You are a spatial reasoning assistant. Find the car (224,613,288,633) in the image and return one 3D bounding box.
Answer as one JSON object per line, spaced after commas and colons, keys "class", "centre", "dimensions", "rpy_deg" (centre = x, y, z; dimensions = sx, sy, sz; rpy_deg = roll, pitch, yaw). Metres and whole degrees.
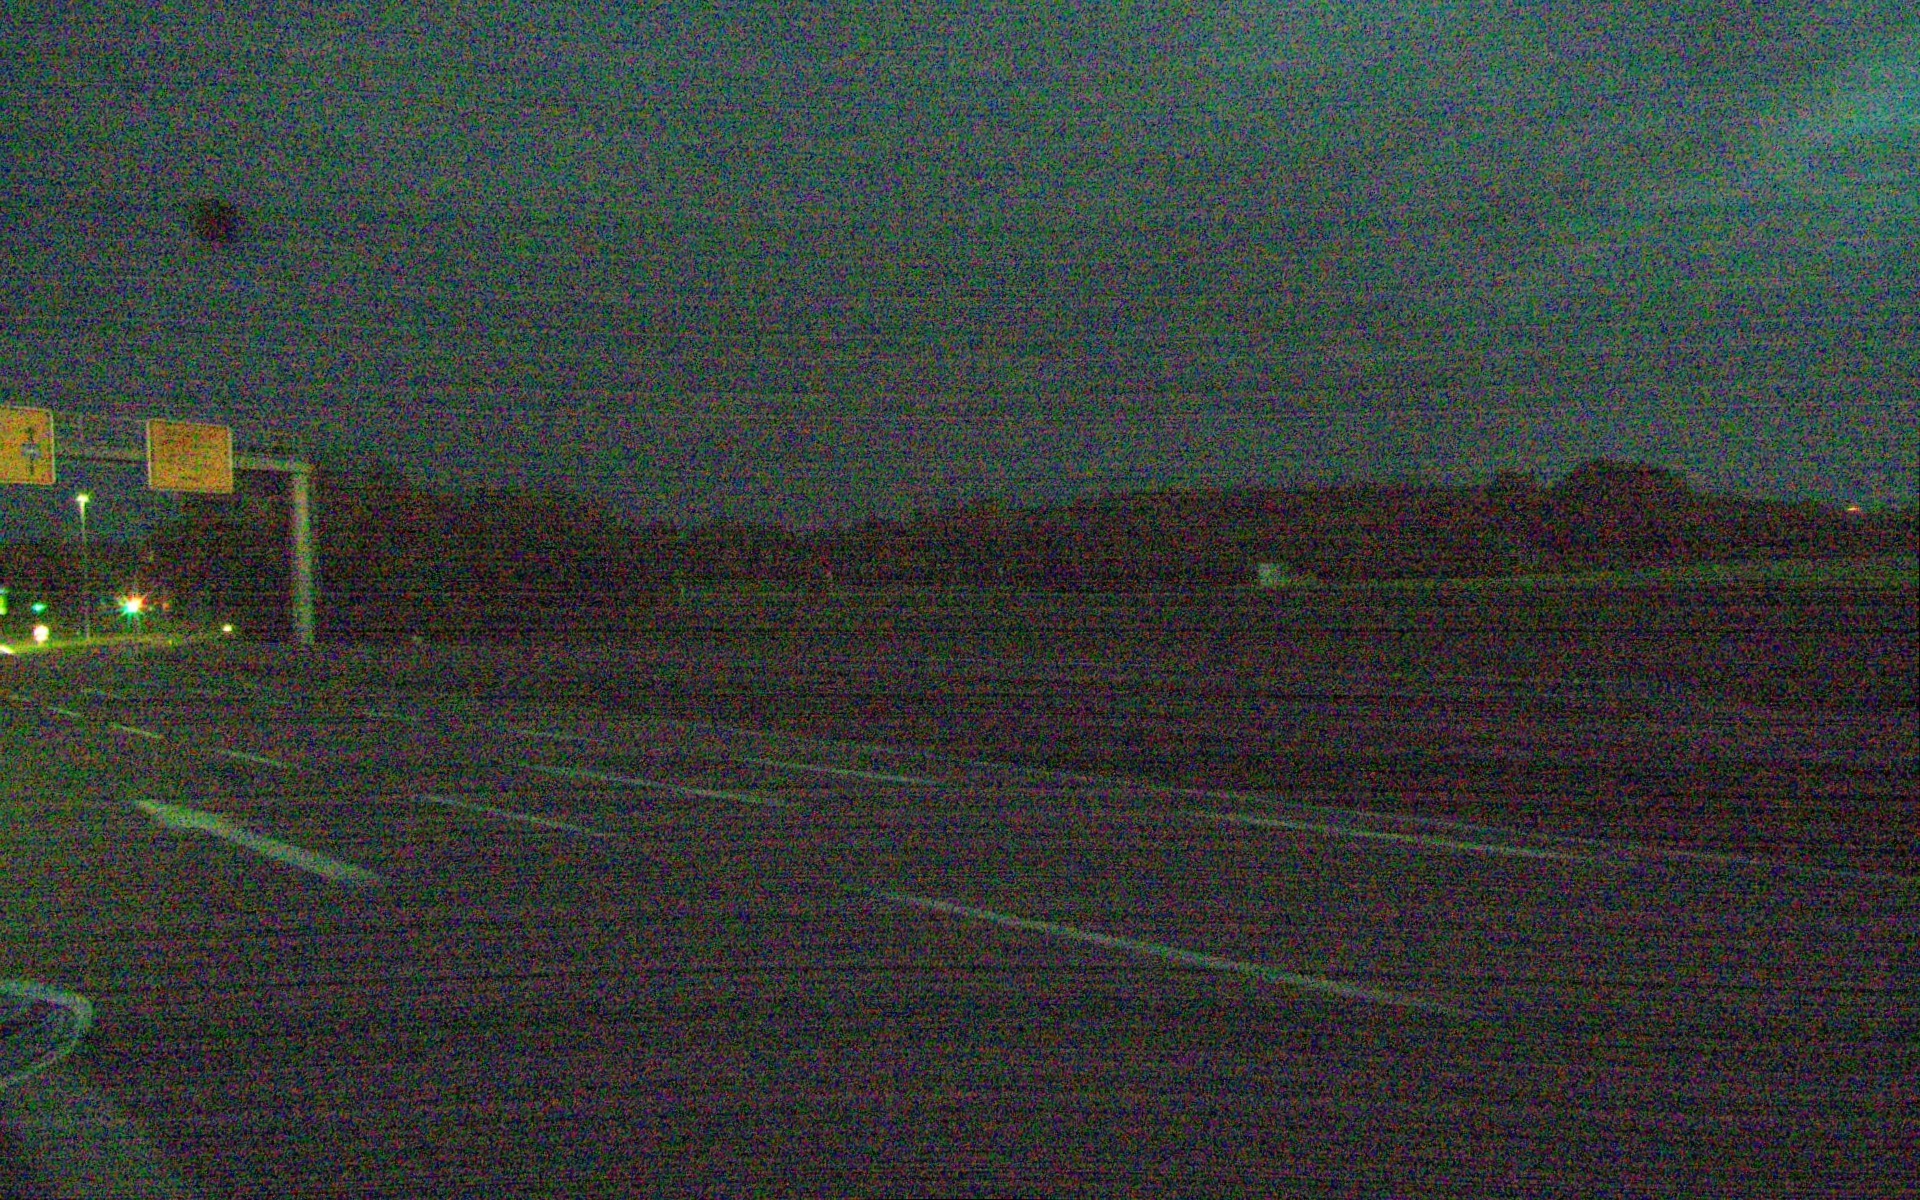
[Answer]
{"class": "car", "centre": [-59.695, 1.941, 84.923], "dimensions": [1.979, 1.590, 4.054], "rpy_deg": [0, 0, 40]}
